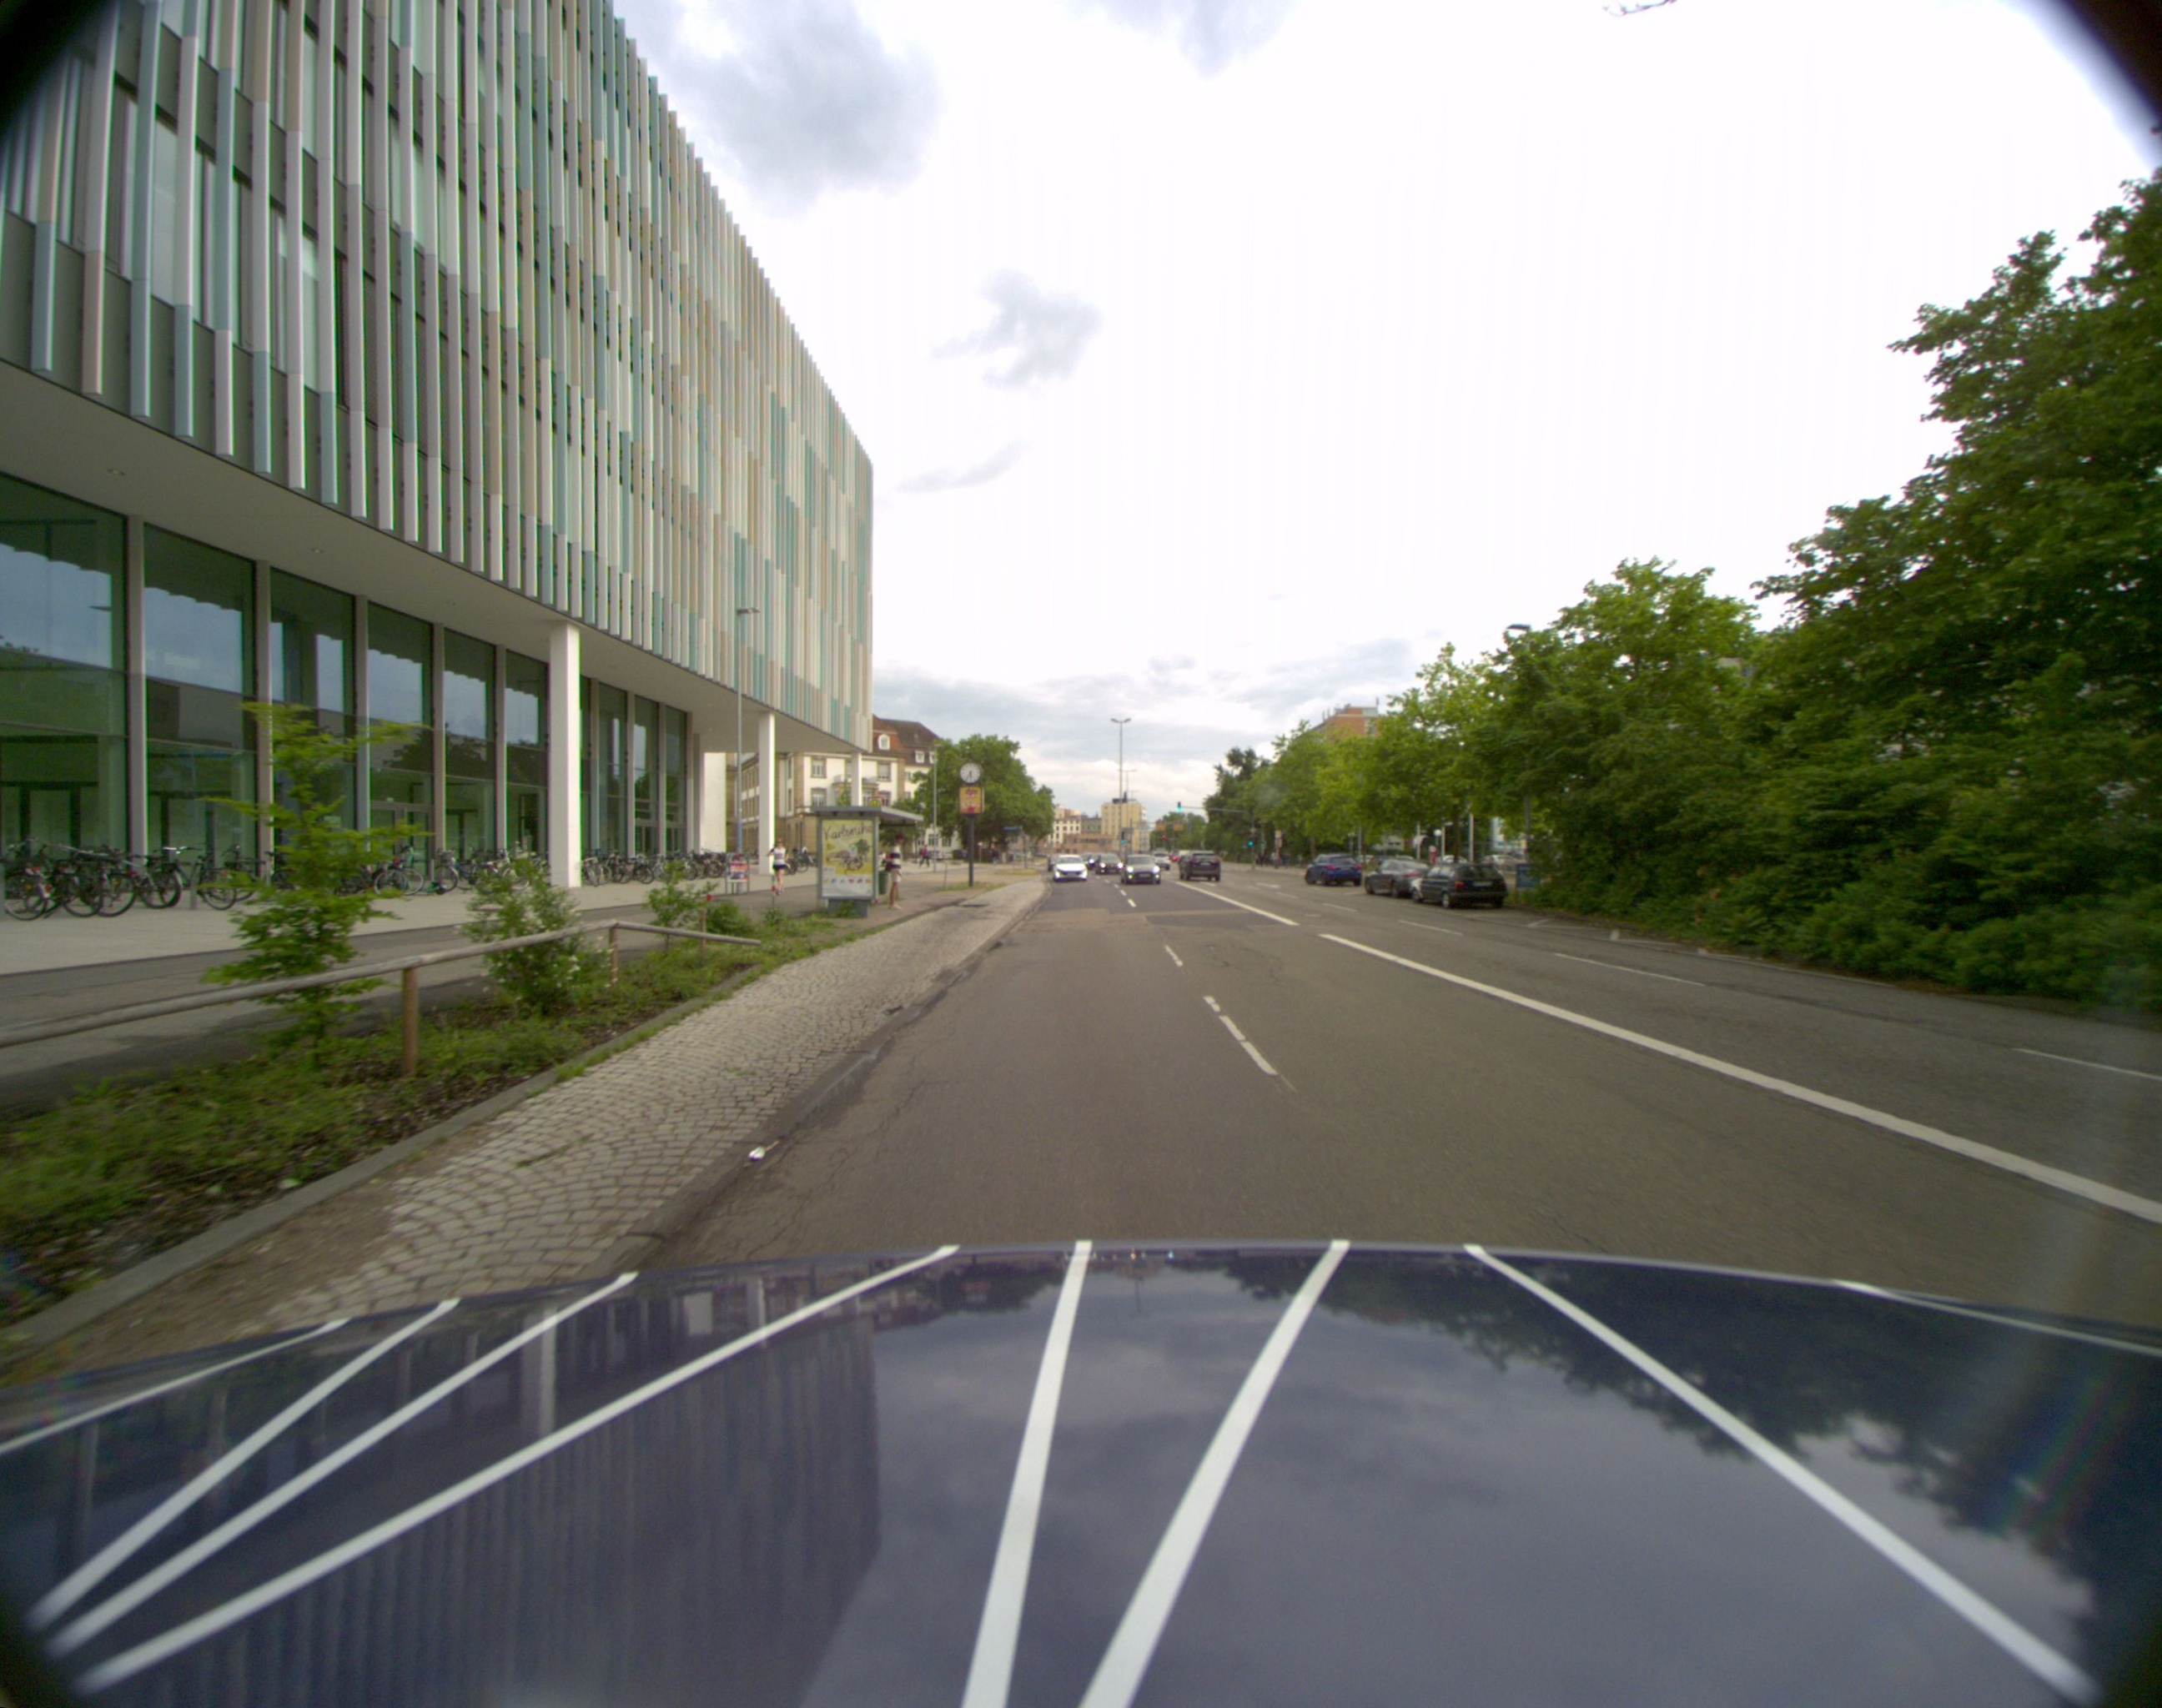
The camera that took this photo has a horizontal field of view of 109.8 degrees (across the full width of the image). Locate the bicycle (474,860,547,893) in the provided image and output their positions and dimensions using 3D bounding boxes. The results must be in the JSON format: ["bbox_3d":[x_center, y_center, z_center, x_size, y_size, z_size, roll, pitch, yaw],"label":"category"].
[{"bbox_3d":[-15.410,0.594,20.537,1.536,0.829,0.556,1,1,1],"label":"bicycle"}]

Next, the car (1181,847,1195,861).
[{"bbox_3d":[14.946,0.015,106.538,1.775,1.837,4.490,-1,0,6],"label":"car"}]

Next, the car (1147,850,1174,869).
[{"bbox_3d":[7.132,0.481,68.117,1.998,1.538,4.179,2,0,1],"label":"car"}]

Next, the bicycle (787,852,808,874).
[{"bbox_3d":[-14.564,0.446,39.062,0.610,1.073,1.961,2,0,-10],"label":"bicycle"}]

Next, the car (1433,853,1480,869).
[{"bbox_3d":[39.240,0.689,79.463,3.997,1.570,2.000,-2,0,0],"label":"car"}]

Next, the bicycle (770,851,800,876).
[{"bbox_3d":[-14.114,0.434,36.249,0.637,1.134,2.200,3,0,-3],"label":"bicycle"}]

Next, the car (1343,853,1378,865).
[{"bbox_3d":[33.451,0.610,90.957,3.593,1.442,1.863,-1,0,1],"label":"car"}]

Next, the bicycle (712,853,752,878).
[{"bbox_3d":[-15.000,0.488,32.676,1.403,1.037,0.559,2,1,1],"label":"bicycle"}]

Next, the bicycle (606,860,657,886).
[{"bbox_3d":[-15.917,0.669,26.898,1.610,0.891,0.366,1,1,1],"label":"bicycle"}]

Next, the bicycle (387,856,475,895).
[{"bbox_3d":[-15.433,0.497,18.054,1.610,0.869,0.556,1,1,1],"label":"bicycle"}]

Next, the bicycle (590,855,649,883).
[{"bbox_3d":[-15.126,0.488,24.926,1.610,0.869,0.556,1,1,1],"label":"bicycle"}]

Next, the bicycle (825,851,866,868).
[{"bbox_3d":[-17.010,0.374,54.919,2.726,1.181,0.772,0,1,-41],"label":"bicycle"}]

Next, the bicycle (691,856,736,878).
[{"bbox_3d":[-15.239,0.546,31.514,1.610,0.869,0.556,1,1,1],"label":"bicycle"}]

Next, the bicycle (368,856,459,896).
[{"bbox_3d":[-15.336,0.491,17.471,1.610,0.869,0.556,1,1,1],"label":"bicycle"}]

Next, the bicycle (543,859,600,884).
[{"bbox_3d":[-15.981,0.543,23.848,1.438,0.741,0.556,1,1,1],"label":"bicycle"}]

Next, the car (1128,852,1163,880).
[{"bbox_3d":[3.194,0.542,37.631,1.624,1.310,3.706,1,0,5],"label":"car"}]

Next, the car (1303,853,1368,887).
[{"bbox_3d":[12.702,0.753,38.227,1.863,1.598,4.593,-2,0,2],"label":"car"}]

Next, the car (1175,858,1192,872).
[{"bbox_3d":[13.199,1.359,97.700,1.703,1.680,4.000,1,0,1],"label":"car"}]

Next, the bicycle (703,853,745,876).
[{"bbox_3d":[-15.793,0.473,33.606,1.608,0.930,0.569,3,0,11],"label":"bicycle"}]

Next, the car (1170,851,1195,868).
[{"bbox_3d":[10.183,0.525,76.676,1.998,1.684,4.468,1,0,1],"label":"car"}]

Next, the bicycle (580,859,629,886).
[{"bbox_3d":[-15.970,0.607,25.492,1.286,0.869,0.556,1,1,1],"label":"bicycle"}]

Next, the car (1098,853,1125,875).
[{"bbox_3d":[2.225,0.686,54.316,1.731,1.450,4.001,1,0,5],"label":"car"}]

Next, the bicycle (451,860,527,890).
[{"bbox_3d":[-15.473,0.541,19.886,1.564,0.712,0.556,1,1,1],"label":"bicycle"}]

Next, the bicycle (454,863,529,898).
[{"bbox_3d":[-14.889,0.671,19.196,1.458,0.834,0.556,1,1,1],"label":"bicycle"}]

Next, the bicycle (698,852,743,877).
[{"bbox_3d":[-15.220,0.450,32.110,1.610,0.977,0.556,3,1,1],"label":"bicycle"}]

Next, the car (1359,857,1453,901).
[{"bbox_3d":[12.292,0.888,29.104,1.878,1.416,4.729,-3,0,5],"label":"car"}]

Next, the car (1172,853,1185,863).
[{"bbox_3d":[16.292,0.676,126.872,1.997,1.610,4.002,1,0,7],"label":"car"}]

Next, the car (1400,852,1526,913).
[{"bbox_3d":[11.923,0.831,24.046,1.998,1.680,4.000,-2,0,1],"label":"car"}]

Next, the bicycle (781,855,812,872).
[{"bbox_3d":[-15.409,0.520,41.173,1.491,0.924,0.439,1,2,-38],"label":"bicycle"}]

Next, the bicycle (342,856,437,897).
[{"bbox_3d":[-15.353,0.492,16.887,1.610,0.869,0.556,1,1,1],"label":"bicycle"}]

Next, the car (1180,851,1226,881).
[{"bbox_3d":[6.731,0.624,42.438,1.907,1.584,4.516,1,0,1],"label":"car"}]

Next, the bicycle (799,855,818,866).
[{"bbox_3d":[-22.611,0.506,62.966,1.360,0.893,0.541,0,1,-43],"label":"bicycle"}]

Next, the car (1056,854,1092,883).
[{"bbox_3d":[-0.346,0.780,42.720,1.813,1.533,4.000,0,0,2],"label":"car"}]

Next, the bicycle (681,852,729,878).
[{"bbox_3d":[-15.270,0.442,30.837,1.610,0.870,0.556,6,1,3],"label":"bicycle"}]

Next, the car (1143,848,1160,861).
[{"bbox_3d":[9.225,0.069,100.051,1.998,1.677,4.948,-1,0,2],"label":"car"}]
